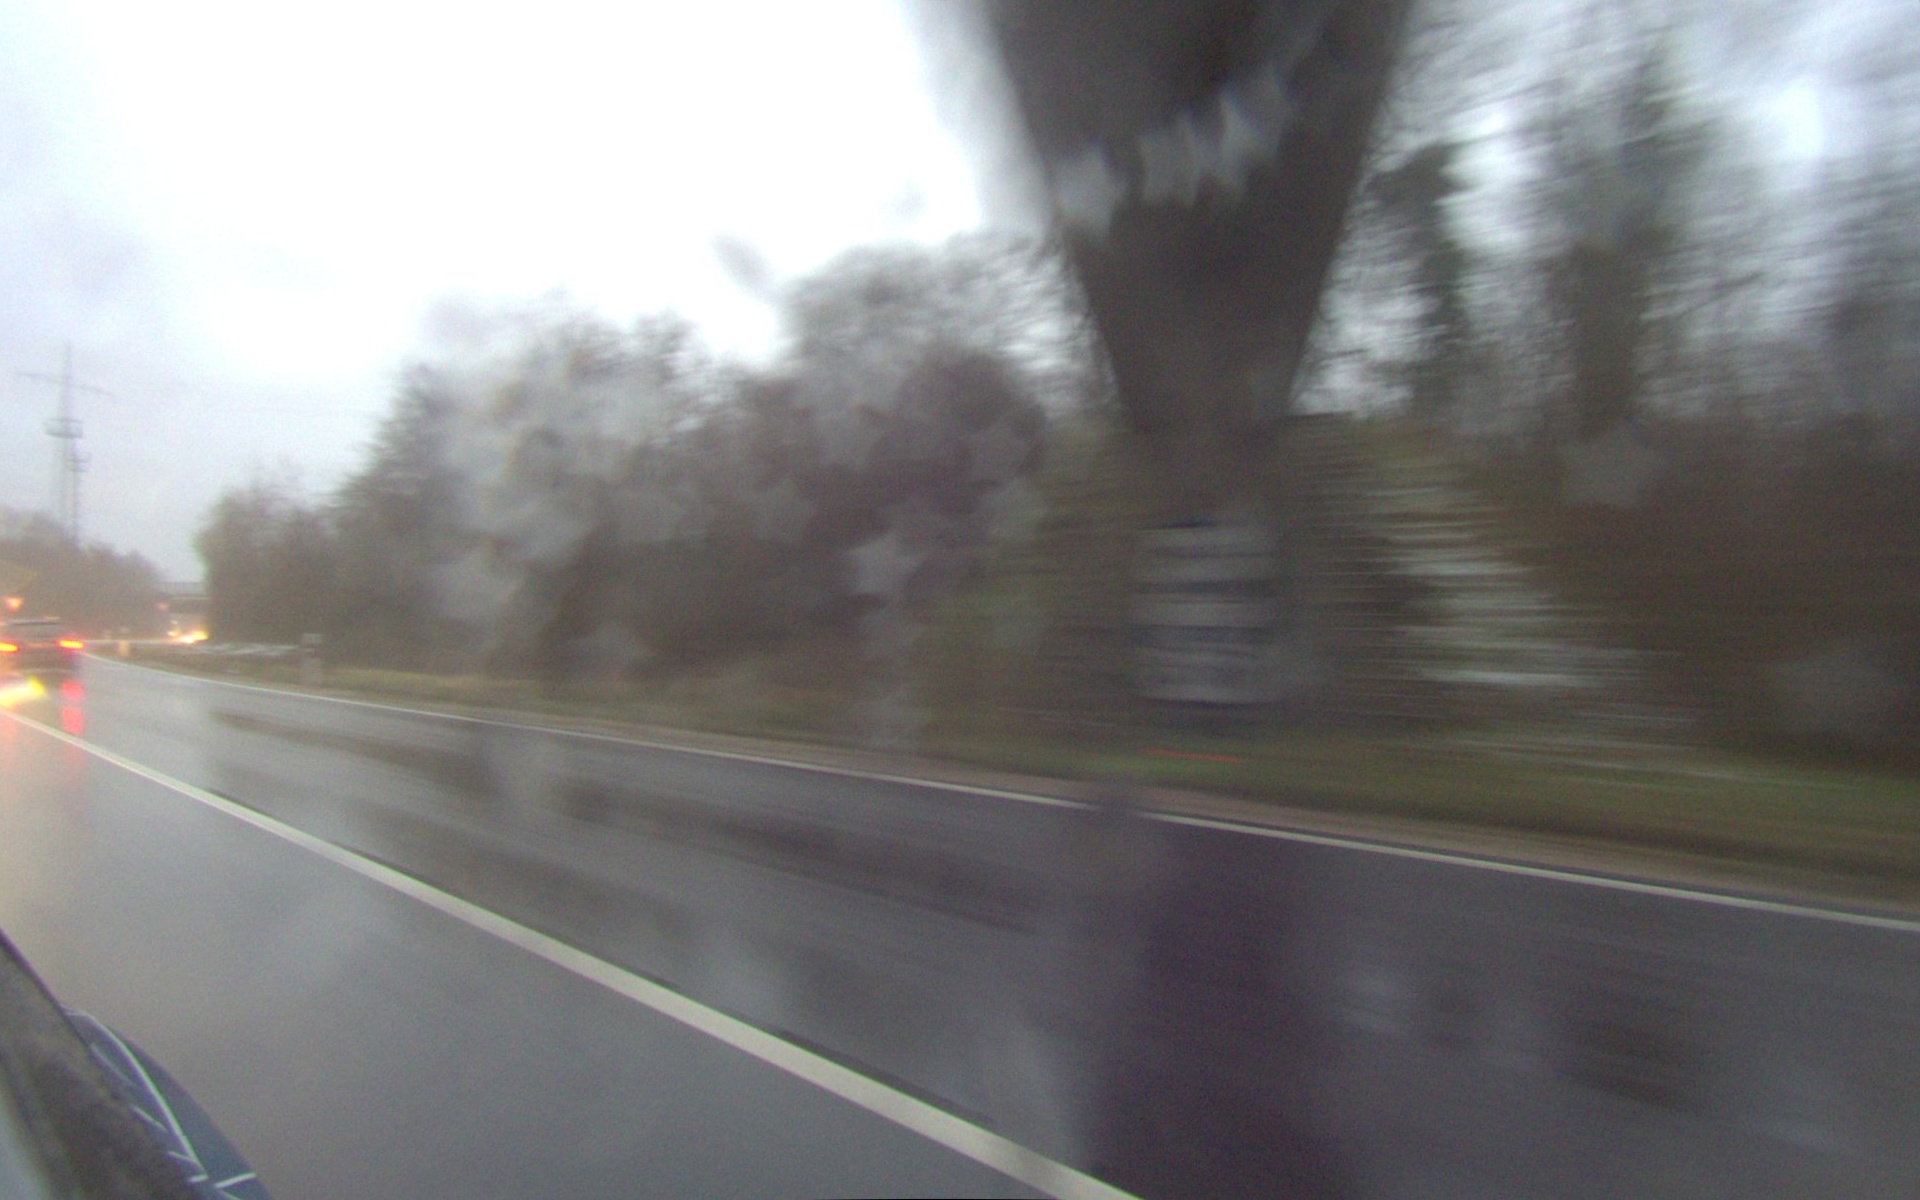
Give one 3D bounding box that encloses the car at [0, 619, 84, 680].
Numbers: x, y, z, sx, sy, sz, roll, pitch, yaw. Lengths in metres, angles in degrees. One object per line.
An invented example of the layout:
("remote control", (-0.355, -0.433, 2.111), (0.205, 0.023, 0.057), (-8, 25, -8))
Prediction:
("car", (-24.768, 1.266, 26.673), (4.373, 1.464, 1.787), (-1, 0, 39))
